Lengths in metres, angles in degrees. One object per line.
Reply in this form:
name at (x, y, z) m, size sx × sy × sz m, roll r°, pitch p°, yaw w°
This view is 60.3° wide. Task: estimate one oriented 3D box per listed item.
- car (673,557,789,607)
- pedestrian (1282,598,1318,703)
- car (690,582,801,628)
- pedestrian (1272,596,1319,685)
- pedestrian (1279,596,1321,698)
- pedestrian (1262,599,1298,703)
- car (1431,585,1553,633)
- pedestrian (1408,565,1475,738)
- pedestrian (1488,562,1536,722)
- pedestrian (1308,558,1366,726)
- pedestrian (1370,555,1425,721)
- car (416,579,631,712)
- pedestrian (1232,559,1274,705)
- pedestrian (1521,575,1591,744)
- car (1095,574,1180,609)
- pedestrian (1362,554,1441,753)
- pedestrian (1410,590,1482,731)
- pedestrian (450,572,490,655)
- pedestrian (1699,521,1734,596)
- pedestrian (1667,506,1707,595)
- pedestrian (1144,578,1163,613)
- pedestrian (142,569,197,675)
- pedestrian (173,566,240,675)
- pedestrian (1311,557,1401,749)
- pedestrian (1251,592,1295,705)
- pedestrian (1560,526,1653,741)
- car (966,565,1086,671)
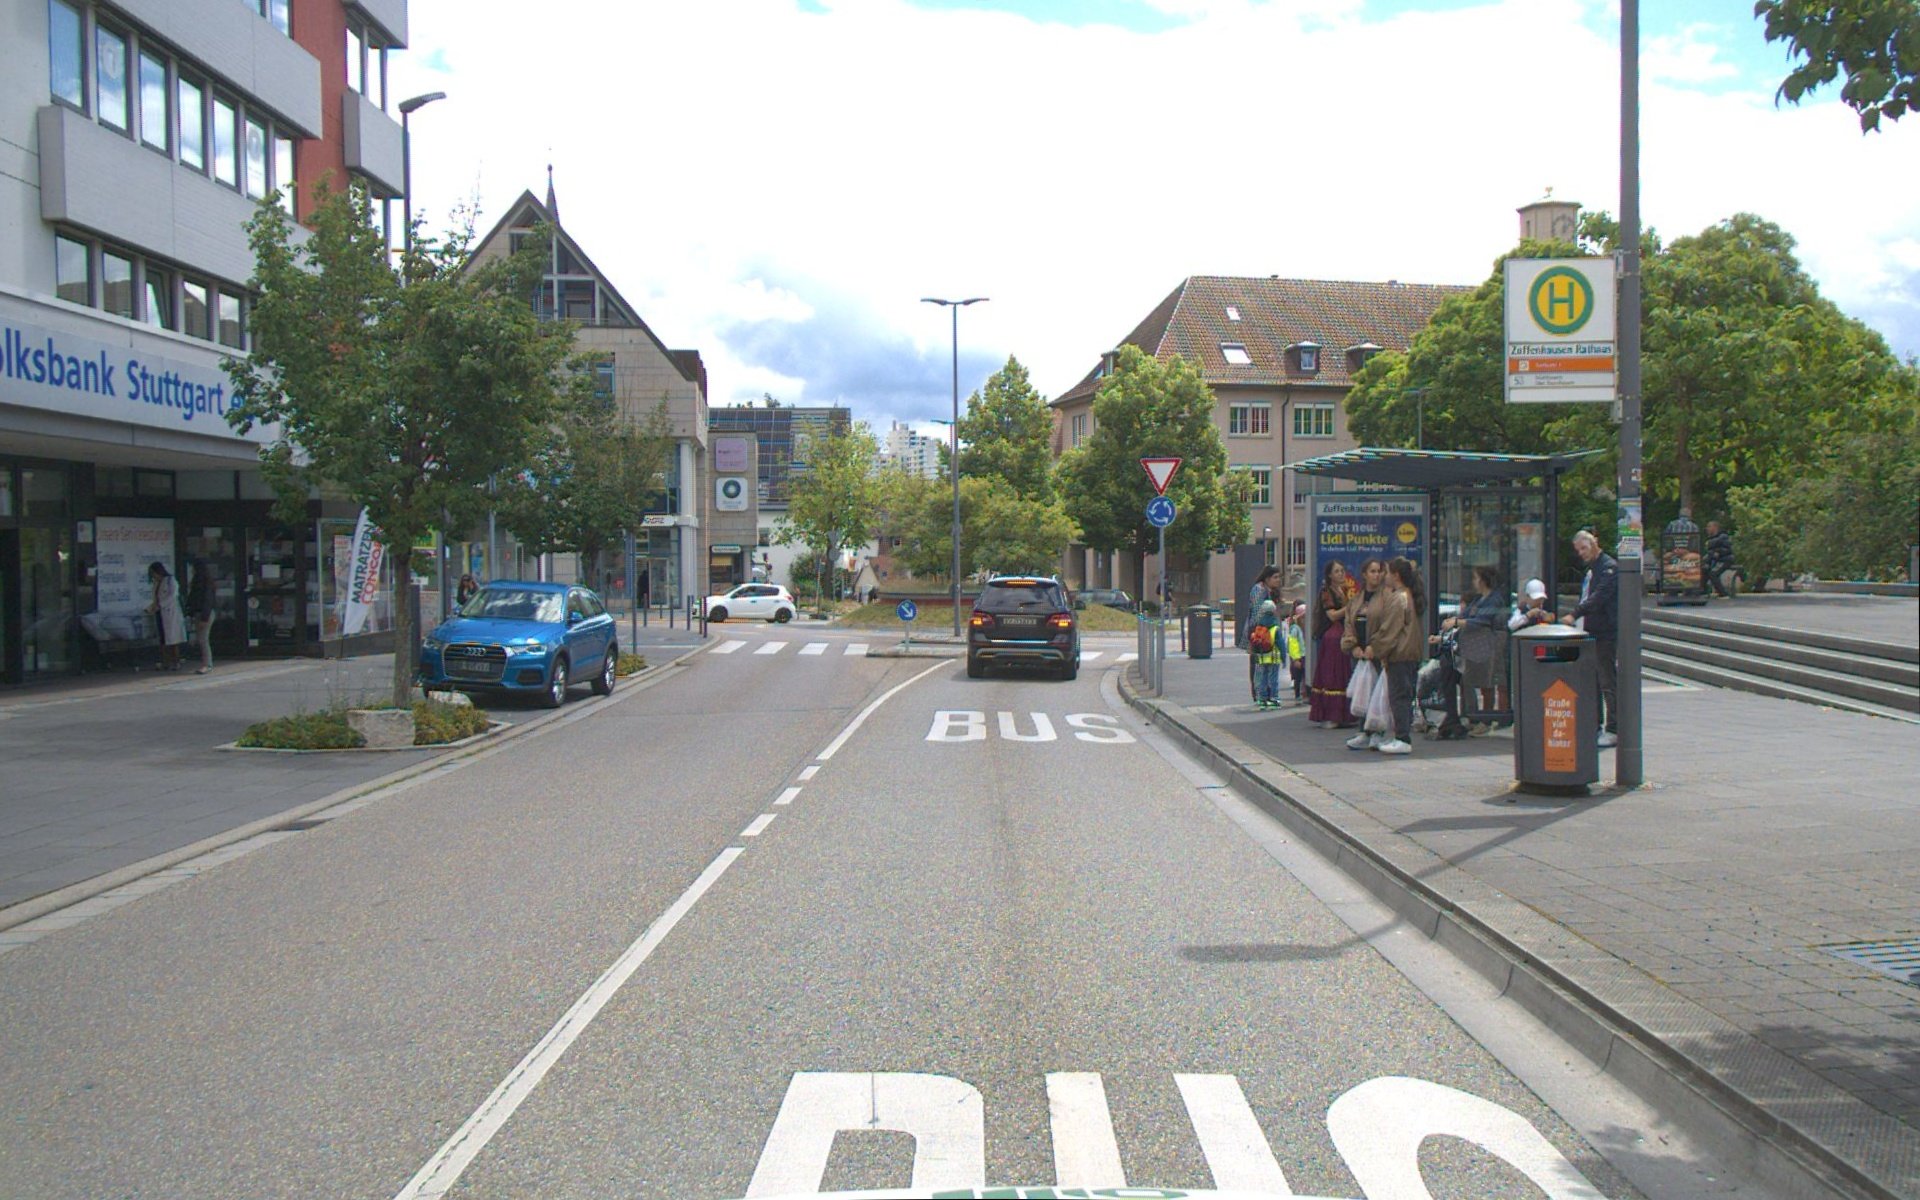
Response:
car at (-12.992, -0.971, 93.875) m, size 6.195 × 2.605 × 2.192 m, roll 1°, pitch -2°, yaw -22°
pedestrian at (3.903, 0.574, 18.985) m, size 0.291 × 1.172 × 0.293 m, roll -3°, pitch 0°, yaw -2°
car at (-8.065, 0.178, 62.119) m, size 3.818 × 1.558 × 1.648 m, roll -2°, pitch 0°, yaw -23°
pedestrian at (4.585, 0.551, 22.608) m, size 0.467 × 1.192 × 0.389 m, roll -2°, pitch 0°, yaw 38°
pedestrian at (3.984, 0.547, 19.388) m, size 0.316 × 1.172 × 0.317 m, roll -3°, pitch 0°, yaw -40°
pedestrian at (3.706, 0.585, 19.139) m, size 0.262 × 1.181 × 0.266 m, roll -3°, pitch 0°, yaw -45°
car at (19.503, 0.329, 60.774) m, size 4.164 × 1.604 × 1.851 m, roll -1°, pitch 1°, yaw 15°
pedestrian at (4.207, 0.442, 14.457) m, size 0.370 × 1.467 × 0.415 m, roll -3°, pitch 0°, yaw -6°
pedestrian at (5.186, 0.389, 15.540) m, size 0.269 × 1.483 × 0.319 m, roll -2°, pitch 0°, yaw -14°
pedestrian at (3.644, 0.401, 16.015) m, size 0.485 × 1.593 × 0.502 m, roll -1°, pitch 0°, yaw 10°
pedestrian at (4.270, 0.363, 16.136) m, size 0.387 × 1.593 × 0.351 m, roll -1°, pitch 0°, yaw 37°
car at (-5.978, 0.559, 23.185) m, size 1.659 × 1.627 × 4.333 m, roll 2°, pitch 1°, yaw 2°
pedestrian at (3.377, 0.364, 19.094) m, size 0.378 × 1.648 × 0.469 m, roll -3°, pitch 0°, yaw 6°
pedestrian at (4.809, 0.475, 13.355) m, size 0.381 × 1.329 × 0.355 m, roll -3°, pitch 0°, yaw 1°
car at (8.669, -0.407, 80.857) m, size 3.818 × 1.558 × 1.648 m, roll -2°, pitch 0°, yaw -23°
pedestrian at (3.582, 0.420, 13.413) m, size 0.502 × 1.576 × 0.487 m, roll -1°, pitch 0°, yaw 26°
pedestrian at (4.425, 0.537, 15.075) m, size 0.370 × 1.232 × 0.633 m, roll -3°, pitch 0°, yaw -6°
pedestrian at (-9.756, 0.263, 32.926) m, size 0.575 × 1.616 × 0.639 m, roll 1°, pitch 0°, yaw 1°
pedestrian at (13.409, -0.738, 29.334) m, size 0.355 × 1.307 × 0.642 m, roll -1°, pitch 1°, yaw 5°
pedestrian at (12.794, -0.870, 29.122) m, size 0.492 × 1.534 × 0.454 m, roll -1°, pitch 1°, yaw 1°
pedestrian at (8.922, -0.212, 76.130) m, size 0.573 × 1.549 × 0.629 m, roll -4°, pitch 6°, yaw -43°
pedestrian at (-12.073, 0.331, 25.277) m, size 0.499 × 1.593 × 0.586 m, roll -2°, pitch 0°, yaw 0°
pedestrian at (-11.250, 0.305, 24.694) m, size 0.573 × 1.593 × 0.645 m, roll -2°, pitch 0°, yaw 23°
pedestrian at (3.336, 0.433, 13.921) m, size 0.535 × 1.576 × 0.483 m, roll -1°, pitch 1°, yaw 44°
pedestrian at (3.515, 0.541, 18.553) m, size 0.394 × 1.247 × 0.388 m, roll -1°, pitch 0°, yaw 22°
pedestrian at (5.301, 0.265, 13.581) m, size 0.501 × 1.709 × 0.576 m, roll -2°, pitch 0°, yaw 0°
car at (1.108, 0.358, 29.795) m, size 1.986 × 1.758 × 4.432 m, roll 0°, pitch -2°, yaw 0°
